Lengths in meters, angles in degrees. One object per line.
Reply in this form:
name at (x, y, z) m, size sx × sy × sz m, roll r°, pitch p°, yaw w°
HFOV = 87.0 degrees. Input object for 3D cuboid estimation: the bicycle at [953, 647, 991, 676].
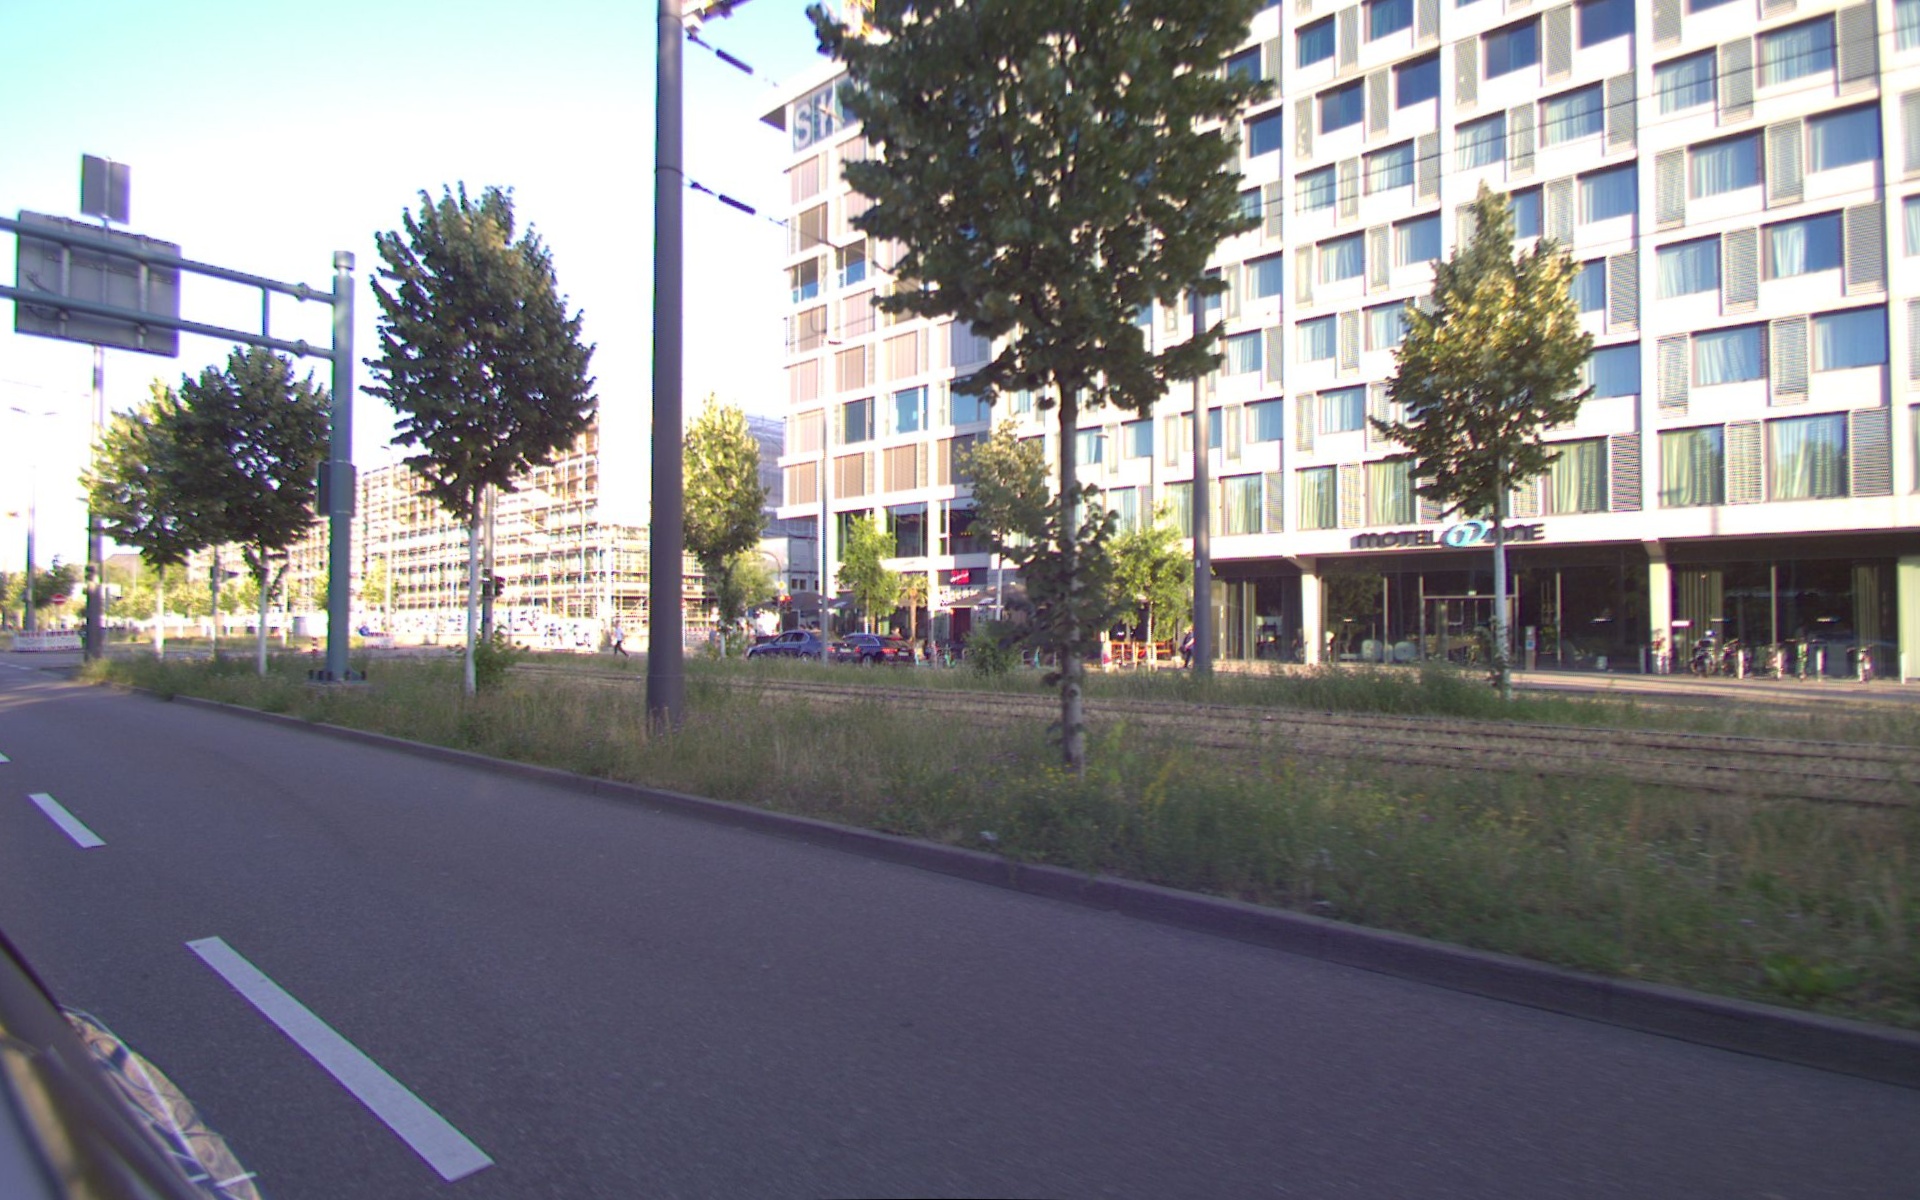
bicycle at (0.495, 2.435, 40.532) m, size 0.442 × 1.067 × 1.890 m, roll -2°, pitch -1°, yaw 38°

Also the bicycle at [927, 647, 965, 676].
bicycle at (-0.555, 2.506, 41.397) m, size 0.442 × 1.067 × 1.890 m, roll -2°, pitch -1°, yaw 38°

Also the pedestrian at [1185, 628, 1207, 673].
pedestrian at (8.678, 1.858, 37.255) m, size 0.603 × 1.612 × 0.491 m, roll -2°, pitch -1°, yaw 43°

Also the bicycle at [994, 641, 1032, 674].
bicycle at (2.080, 2.218, 39.343) m, size 0.442 × 1.208 × 1.890 m, roll -2°, pitch -1°, yaw 38°

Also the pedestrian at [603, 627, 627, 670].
pedestrian at (-15.365, 2.144, 45.094) m, size 0.762 × 1.850 × 0.699 m, roll -2°, pitch -1°, yaw 40°

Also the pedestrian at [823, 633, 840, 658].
pedestrian at (-7.434, 2.610, 58.368) m, size 0.768 × 1.425 × 0.600 m, roll -1°, pitch -3°, yaw 26°

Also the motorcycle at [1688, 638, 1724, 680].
motorcycle at (22.302, 1.749, 30.274) m, size 0.513 × 1.180 × 1.881 m, roll -1°, pitch -1°, yaw 26°

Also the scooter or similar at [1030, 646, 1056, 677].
scooter or similar at (3.178, 2.326, 38.549) m, size 0.338 × 1.172 × 1.169 m, roll -2°, pitch -3°, yaw 42°

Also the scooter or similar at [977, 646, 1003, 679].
scooter or similar at (1.188, 2.415, 39.422) m, size 0.338 × 1.227 × 1.169 m, roll -2°, pitch -2°, yaw 42°

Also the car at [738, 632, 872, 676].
car at (-5.446, 1.866, 35.209) m, size 4.799 × 1.452 × 1.993 m, roll -2°, pitch -5°, yaw 42°

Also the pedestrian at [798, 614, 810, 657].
pedestrian at (-7.453, 1.706, 48.355) m, size 0.494 × 2.029 × 0.552 m, roll 0°, pitch -2°, yaw -6°

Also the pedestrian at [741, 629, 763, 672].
pedestrian at (-9.588, 2.330, 46.651) m, size 0.708 × 1.938 × 0.671 m, roll -2°, pitch -1°, yaw 43°

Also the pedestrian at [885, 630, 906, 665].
pedestrian at (-3.024, 2.210, 47.389) m, size 0.706 × 1.616 × 0.673 m, roll -2°, pitch 0°, yaw 32°

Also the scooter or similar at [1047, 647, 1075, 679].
scooter or similar at (3.747, 2.307, 37.361) m, size 0.338 × 1.066 × 1.169 m, roll -4°, pitch 0°, yaw 42°

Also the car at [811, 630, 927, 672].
car at (-3.374, 1.856, 37.289) m, size 4.221 × 1.451 × 1.866 m, roll -2°, pitch -3°, yaw 41°

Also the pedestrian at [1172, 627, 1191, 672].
pedestrian at (8.238, 1.843, 37.698) m, size 0.516 × 1.669 × 0.424 m, roll -2°, pitch -1°, yaw 43°

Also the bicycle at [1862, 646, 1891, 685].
bicycle at (24.943, 1.766, 27.555) m, size 0.421 × 1.028 × 1.726 m, roll -2°, pitch -2°, yaw 38°

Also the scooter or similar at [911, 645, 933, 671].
scooter or similar at (-1.601, 2.435, 42.482) m, size 0.291 × 1.041 × 0.996 m, roll 0°, pitch -1°, yaw 42°
